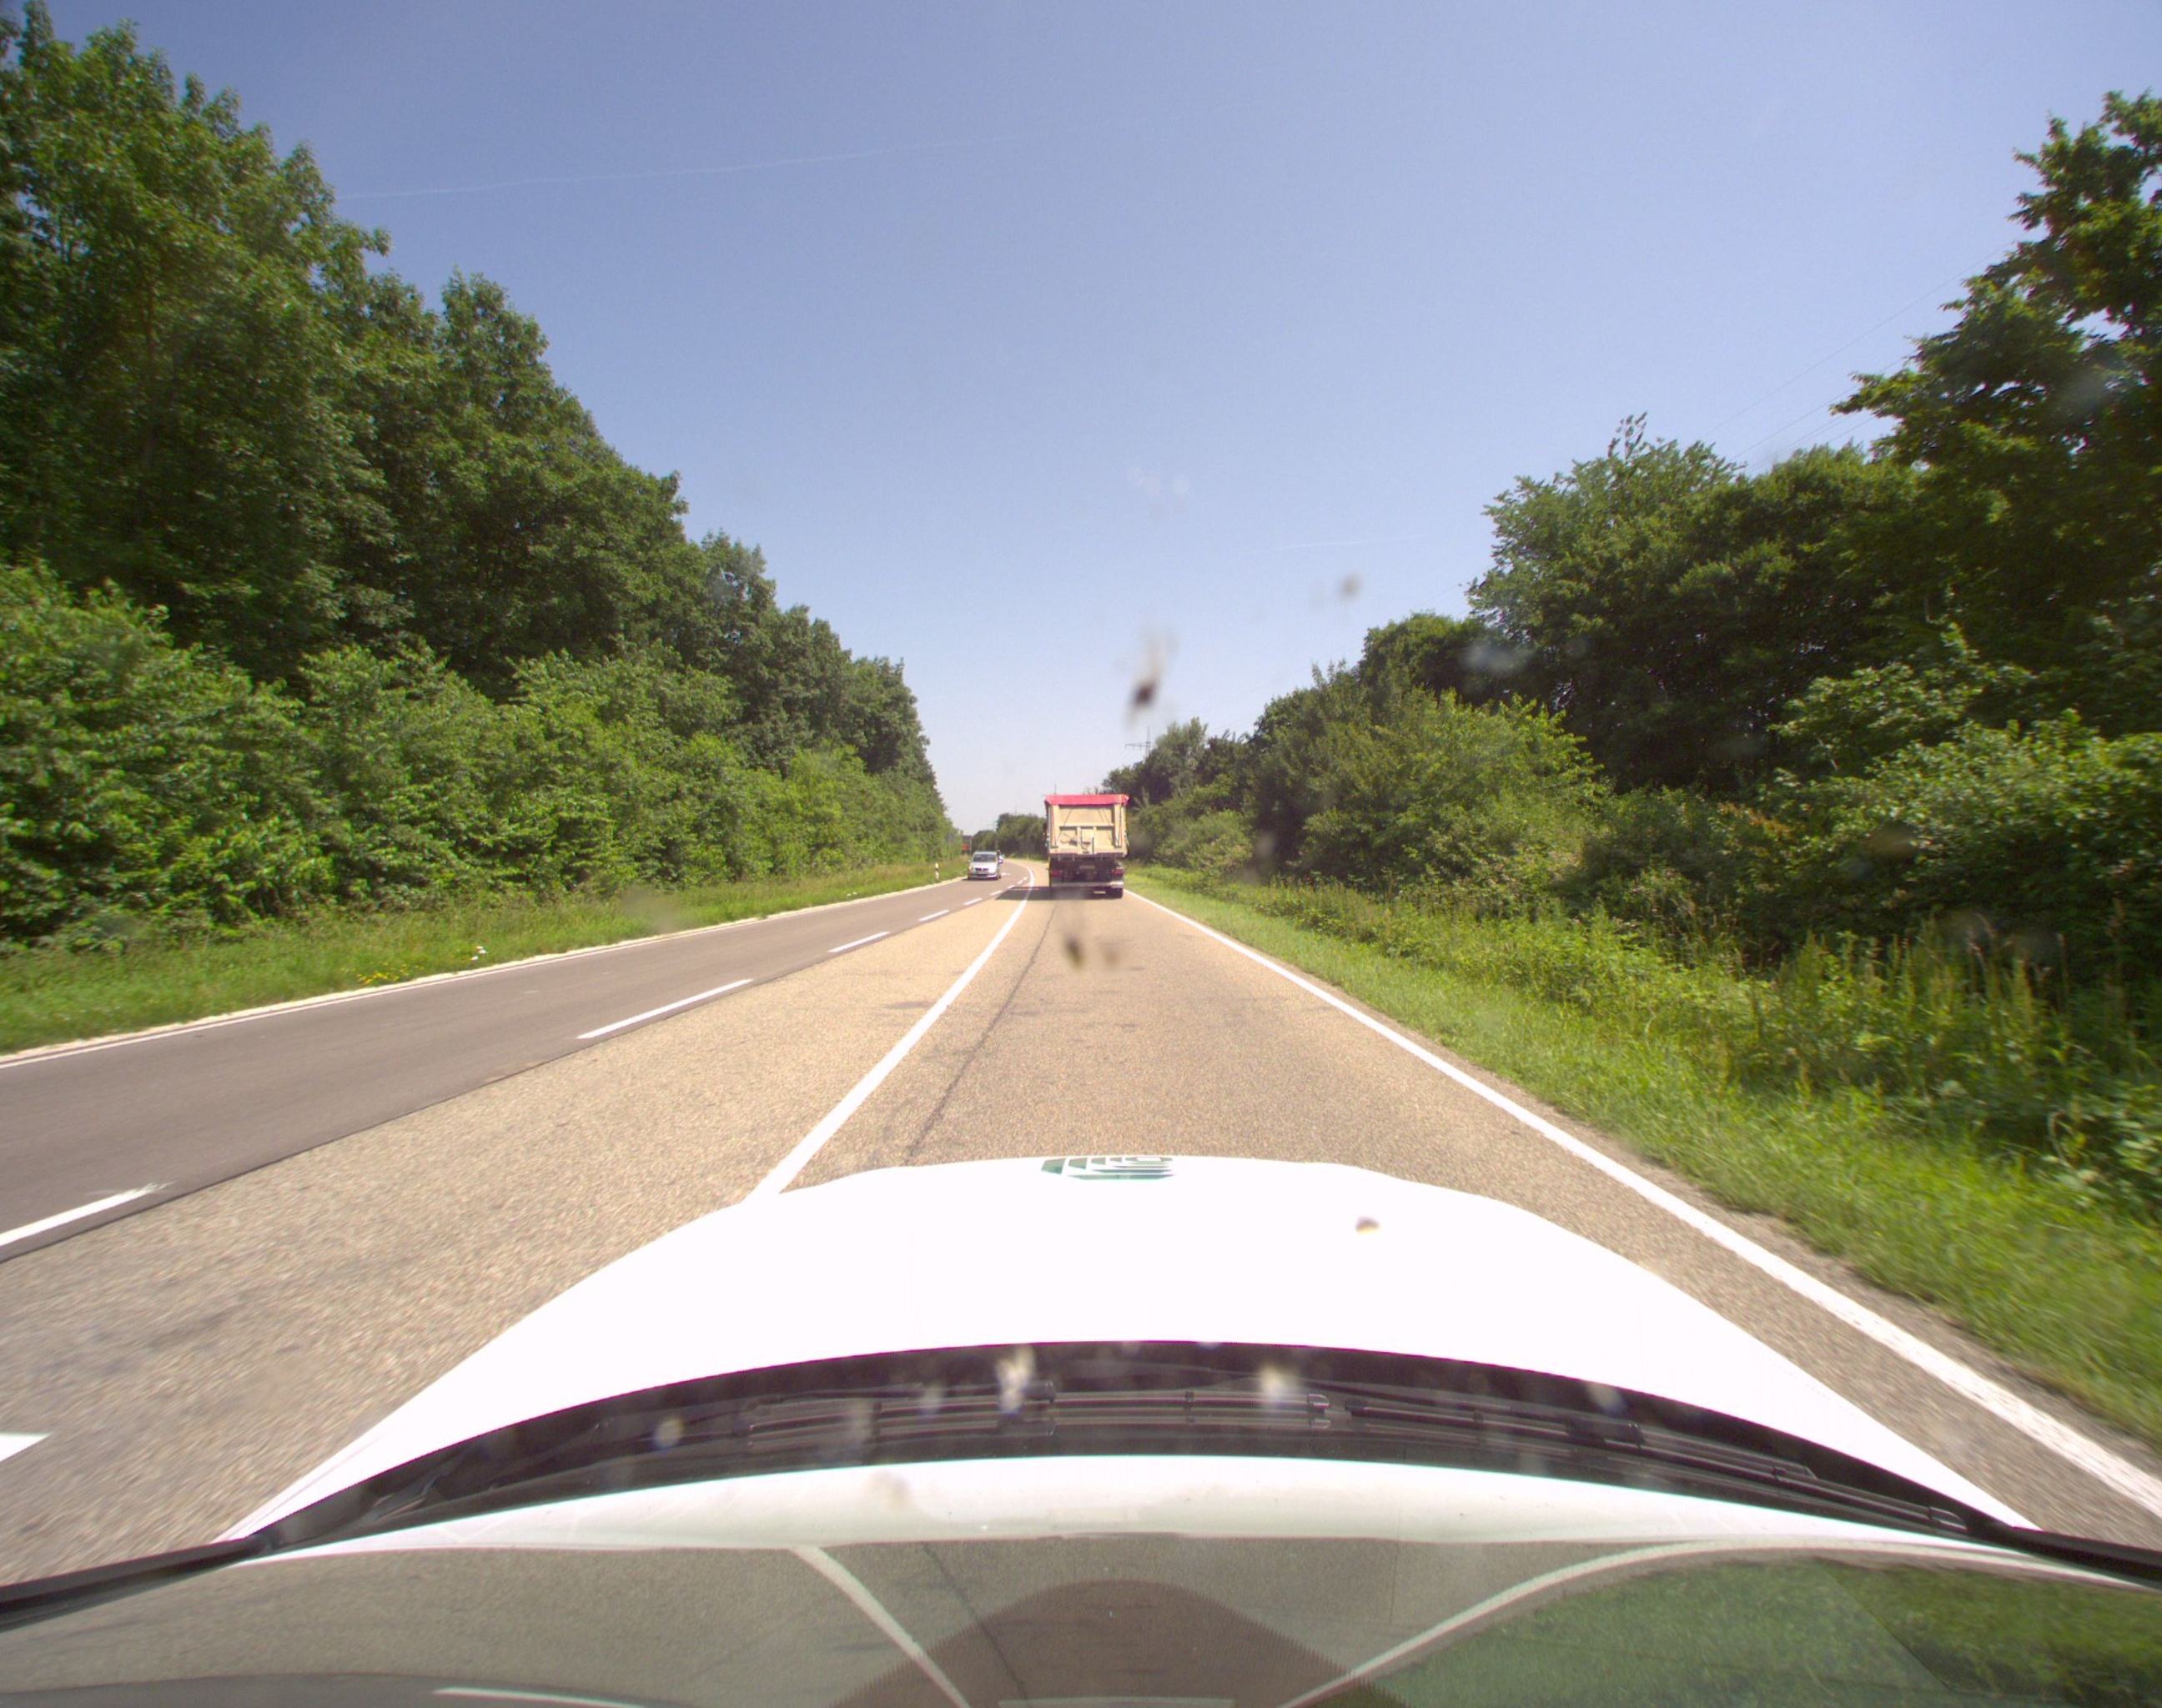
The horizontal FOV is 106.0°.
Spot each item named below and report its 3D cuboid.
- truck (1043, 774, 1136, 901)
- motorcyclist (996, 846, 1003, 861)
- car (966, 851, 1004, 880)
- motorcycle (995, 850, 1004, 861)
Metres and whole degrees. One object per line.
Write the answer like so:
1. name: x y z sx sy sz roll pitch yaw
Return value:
1. truck: 0.059 -0.545 31.380 2.886 3.962 11.923 0 0 -2
2. motorcyclist: -9.705 -0.065 97.406 0.829 1.752 0.622 0 0 -5
3. car: -5.597 0.636 47.731 1.797 1.636 4.210 0 0 -1
4. motorcycle: -9.655 0.196 96.916 0.945 1.251 2.678 0 0 -4
